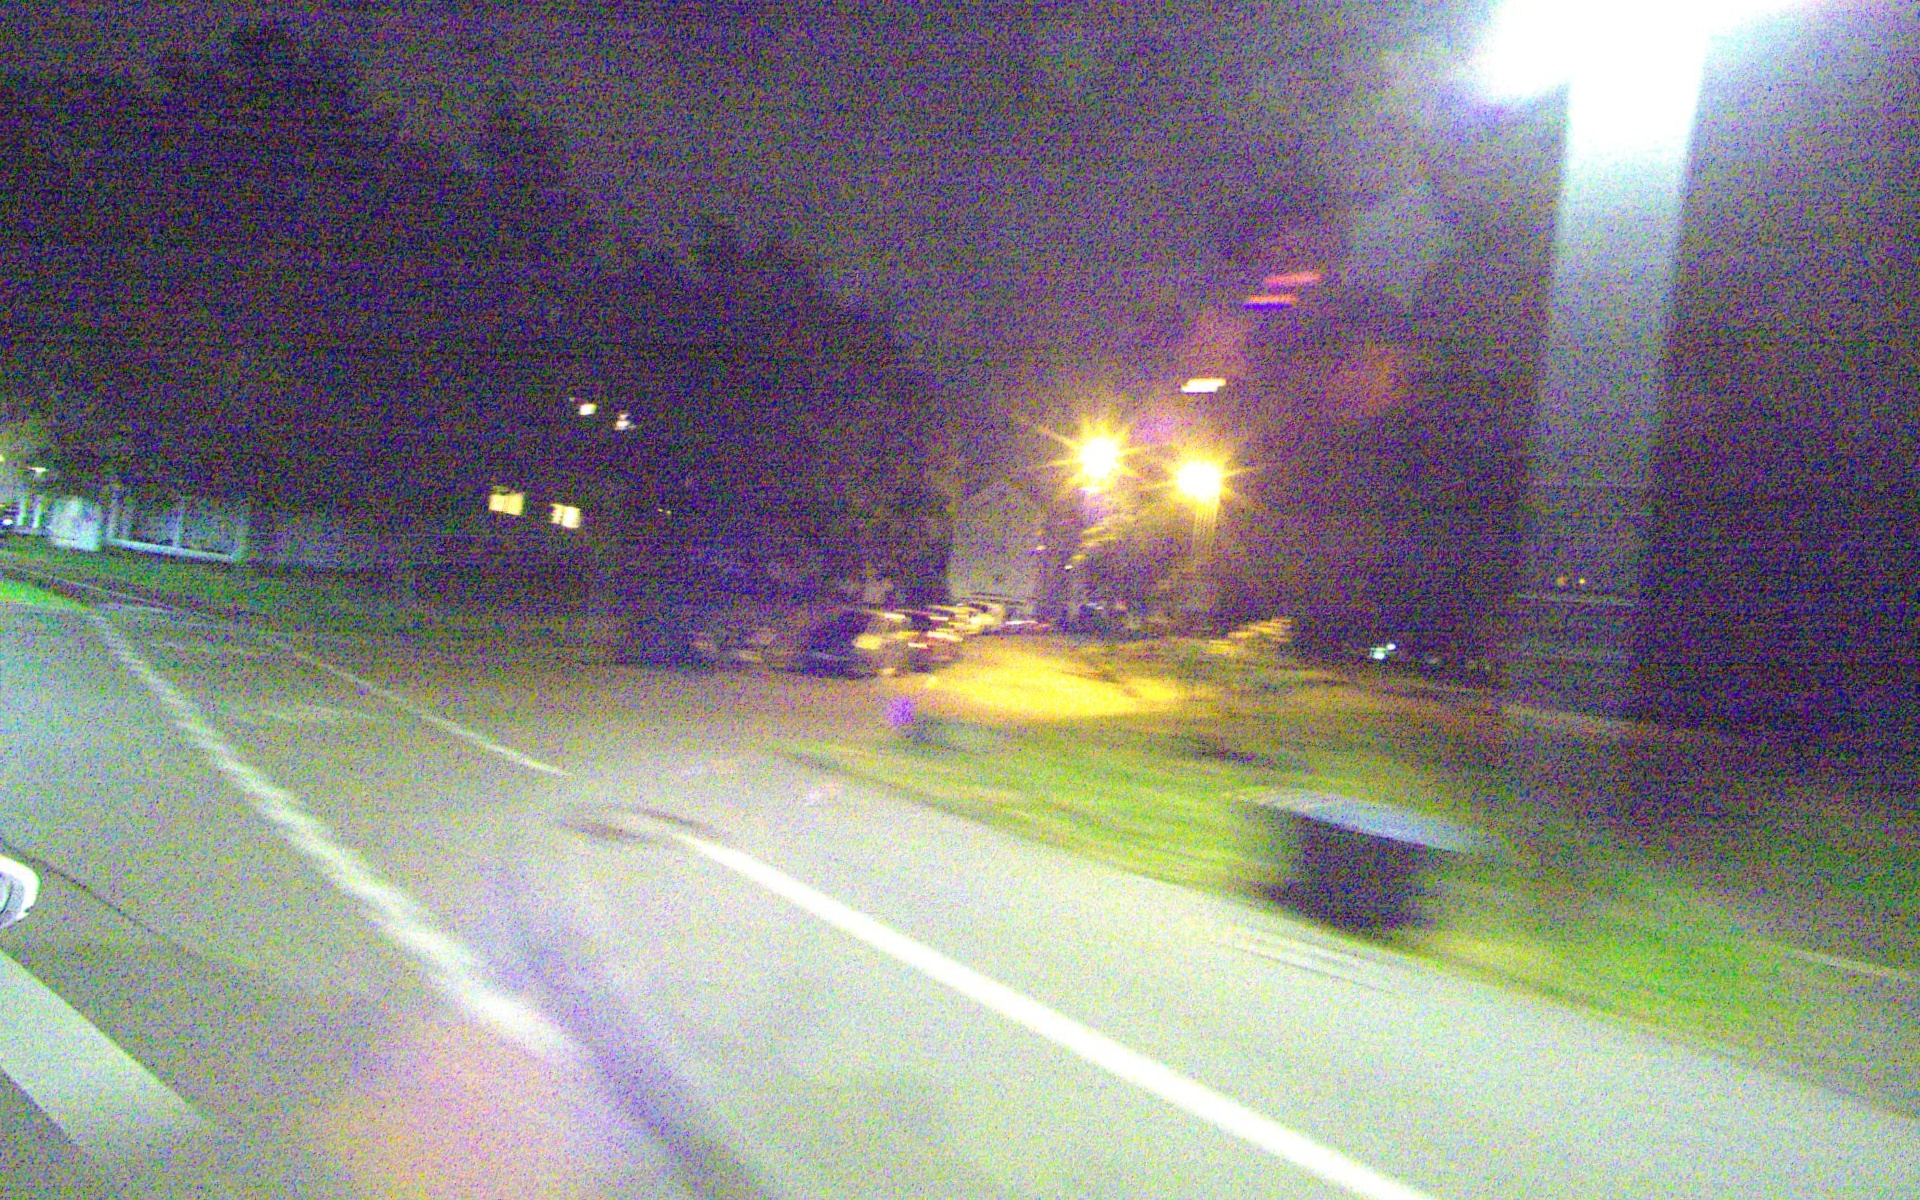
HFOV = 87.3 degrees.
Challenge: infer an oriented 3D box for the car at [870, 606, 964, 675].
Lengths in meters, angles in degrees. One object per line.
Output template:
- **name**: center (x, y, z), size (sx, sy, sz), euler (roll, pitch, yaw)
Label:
- **car**: center (-1.109, 1.131, 28.204), size (1.582, 1.567, 4.035), euler (8, -1, 11)

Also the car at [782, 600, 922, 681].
- **car**: center (-2.382, 0.947, 23.185), size (1.829, 1.497, 3.633), euler (8, -1, 16)

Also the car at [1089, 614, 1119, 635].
- **car**: center (13.742, 2.336, 96.135), size (1.513, 1.691, 2.870), euler (8, 0, 35)

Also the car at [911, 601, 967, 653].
- **car**: center (-0.743, 1.023, 38.796), size (1.730, 1.691, 4.330), euler (8, -1, 2)

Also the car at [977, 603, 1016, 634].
- **car**: center (2.389, 1.214, 64.831), size (1.546, 1.691, 4.099), euler (8, -1, 13)

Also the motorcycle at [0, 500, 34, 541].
- **motorcycle**: center (-35.568, -2.989, 37.466), size (1.064, 1.342, 2.681), euler (9, -2, -35)

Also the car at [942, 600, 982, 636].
- **car**: center (0.155, 0.986, 54.596), size (1.636, 1.691, 3.431), euler (8, 0, 6)

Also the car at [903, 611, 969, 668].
- **car**: center (-0.707, 1.246, 32.981), size (1.730, 1.492, 4.712), euler (8, -1, 2)

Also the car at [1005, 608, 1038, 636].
- **car**: center (4.324, 1.573, 70.255), size (1.434, 1.691, 3.474), euler (8, -1, 16)

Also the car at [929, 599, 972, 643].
- **car**: center (-0.391, 0.958, 46.164), size (1.637, 1.691, 3.542), euler (8, 0, 2)

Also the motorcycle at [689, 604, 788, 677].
- **motorcycle**: center (-4.157, 0.781, 19.099), size (0.698, 1.229, 2.267), euler (8, 0, 16)

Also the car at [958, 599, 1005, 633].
- **car**: center (1.321, 0.992, 60.621), size (1.804, 1.691, 4.416), euler (8, -1, 13)

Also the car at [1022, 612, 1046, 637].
- **car**: center (5.518, 1.839, 75.032), size (1.374, 1.691, 2.926), euler (8, 0, 8)
